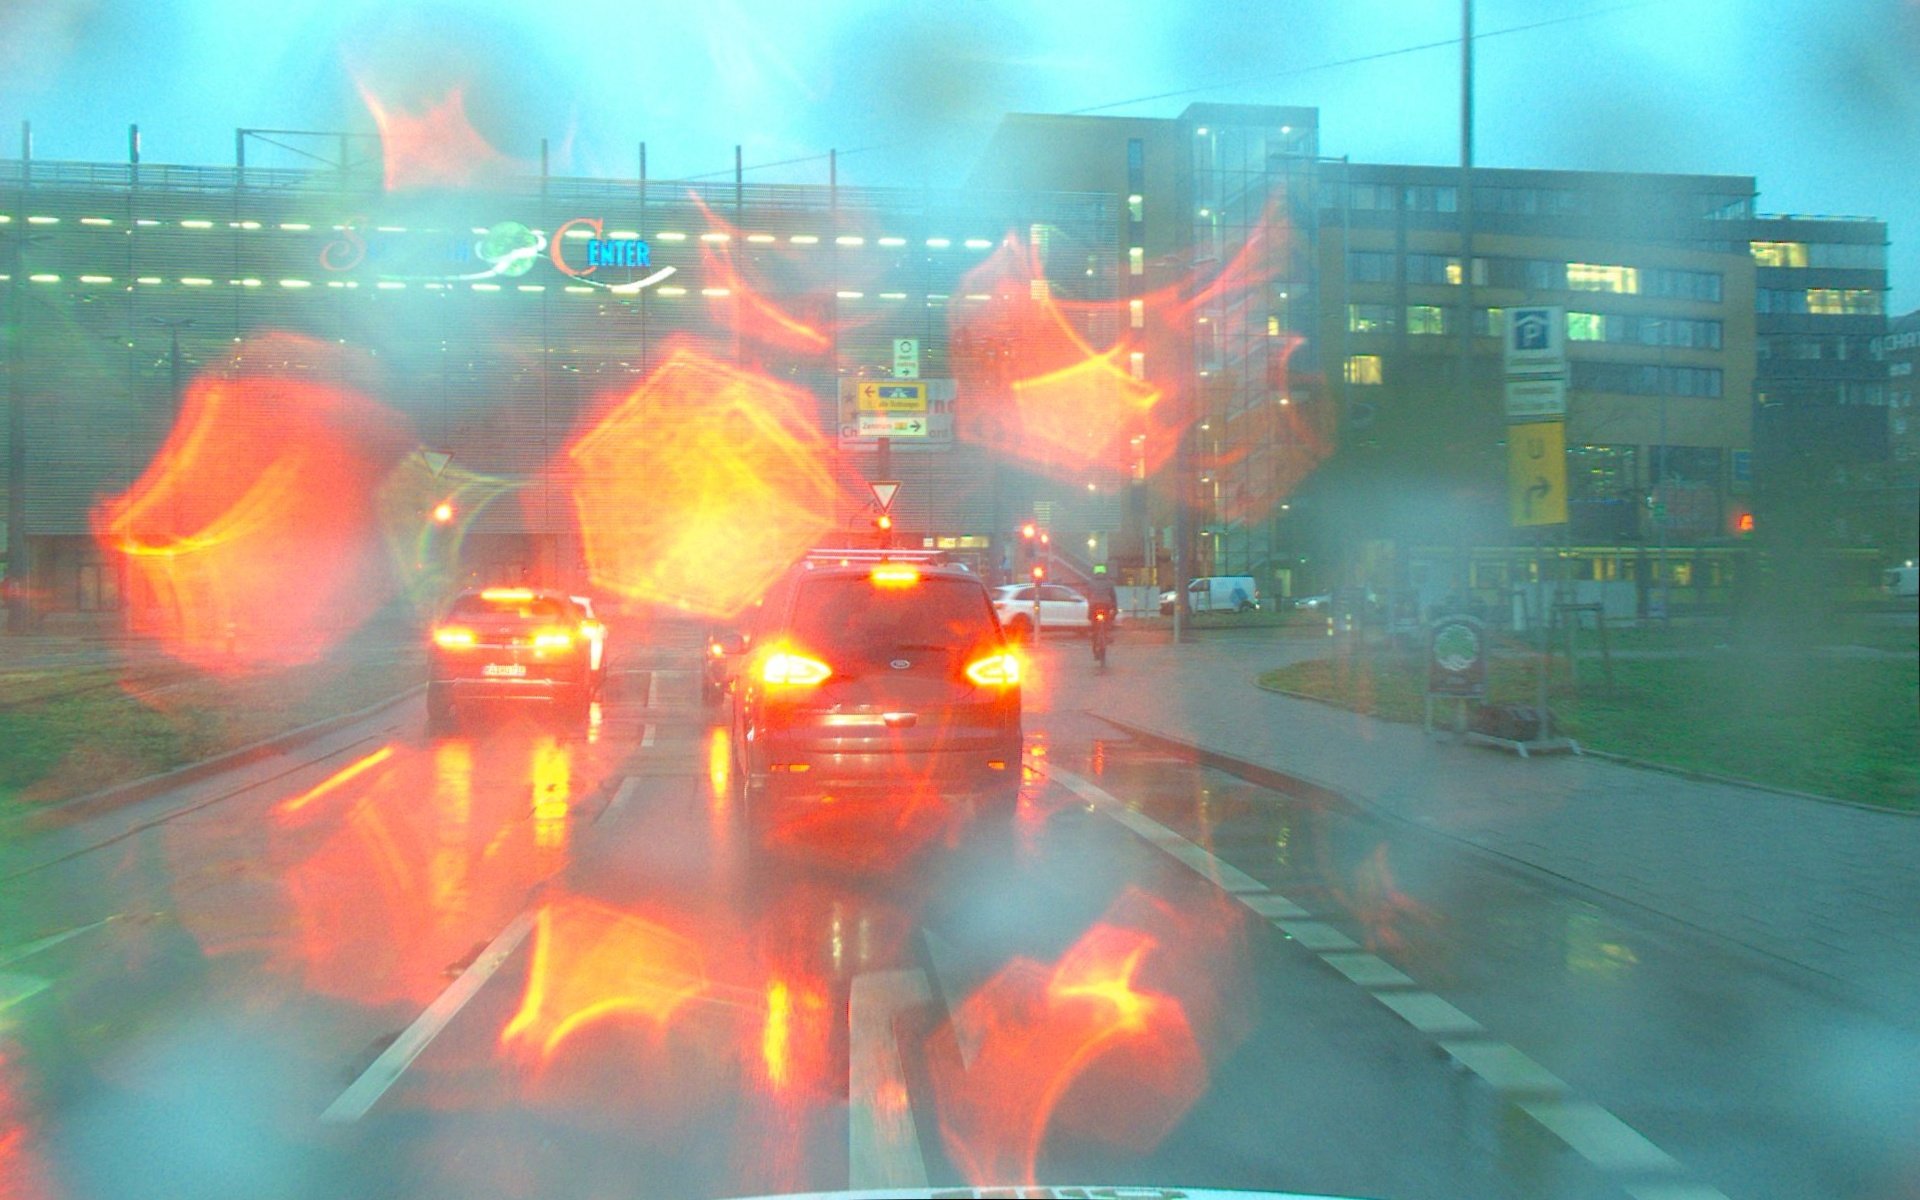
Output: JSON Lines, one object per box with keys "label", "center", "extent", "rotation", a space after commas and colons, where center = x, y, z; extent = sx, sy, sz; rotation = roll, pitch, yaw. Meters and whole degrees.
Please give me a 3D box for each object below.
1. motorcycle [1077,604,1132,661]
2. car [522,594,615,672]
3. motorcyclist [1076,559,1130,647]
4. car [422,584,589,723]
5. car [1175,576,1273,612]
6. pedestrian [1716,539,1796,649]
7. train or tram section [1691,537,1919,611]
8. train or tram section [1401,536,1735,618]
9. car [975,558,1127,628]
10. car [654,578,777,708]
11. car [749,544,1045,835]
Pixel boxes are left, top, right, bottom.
{"label": "motorcycle", "center": [2.611, 0.583, 30.023], "extent": [0.835, 0.989, 1.581], "rotation": [-1, 0, -1]}
{"label": "car", "center": [-6.997, 0.547, 29.499], "extent": [1.514, 1.273, 4.053], "rotation": [0, 0, -14]}
{"label": "motorcyclist", "center": [2.596, 0.052, 30.037], "extent": [0.851, 1.561, 1.108], "rotation": [-1, 0, -1]}
{"label": "car", "center": [-5.792, 0.626, 21.467], "extent": [1.721, 1.601, 3.990], "rotation": [-1, 0, -10]}
{"label": "car", "center": [12.703, -0.261, 79.654], "extent": [4.351, 1.623, 1.790], "rotation": [1, -1, -19]}
{"label": "pedestrian", "center": [14.583, -0.108, 30.315], "extent": [1.145, 1.957, 0.899], "rotation": [2, 0, 16]}
{"label": "train or tram section", "center": [39.989, -1.256, 77.489], "extent": [12.776, 3.317, 2.321], "rotation": [-1, 0, -22]}
{"label": "train or tram section", "center": [26.706, -1.058, 72.072], "extent": [16.373, 3.317, 2.321], "rotation": [-1, 0, -22]}
{"label": "car", "center": [2.845, -0.217, 51.657], "extent": [4.296, 2.049, 1.986], "rotation": [2, 0, -23]}
{"label": "car", "center": [-3.603, 0.582, 23.957], "extent": [1.607, 1.727, 3.661], "rotation": [0, 0, -11]}
{"label": "car", "center": [-0.644, 0.558, 12.350], "extent": [1.703, 1.768, 4.238], "rotation": [2, 0, -9]}
